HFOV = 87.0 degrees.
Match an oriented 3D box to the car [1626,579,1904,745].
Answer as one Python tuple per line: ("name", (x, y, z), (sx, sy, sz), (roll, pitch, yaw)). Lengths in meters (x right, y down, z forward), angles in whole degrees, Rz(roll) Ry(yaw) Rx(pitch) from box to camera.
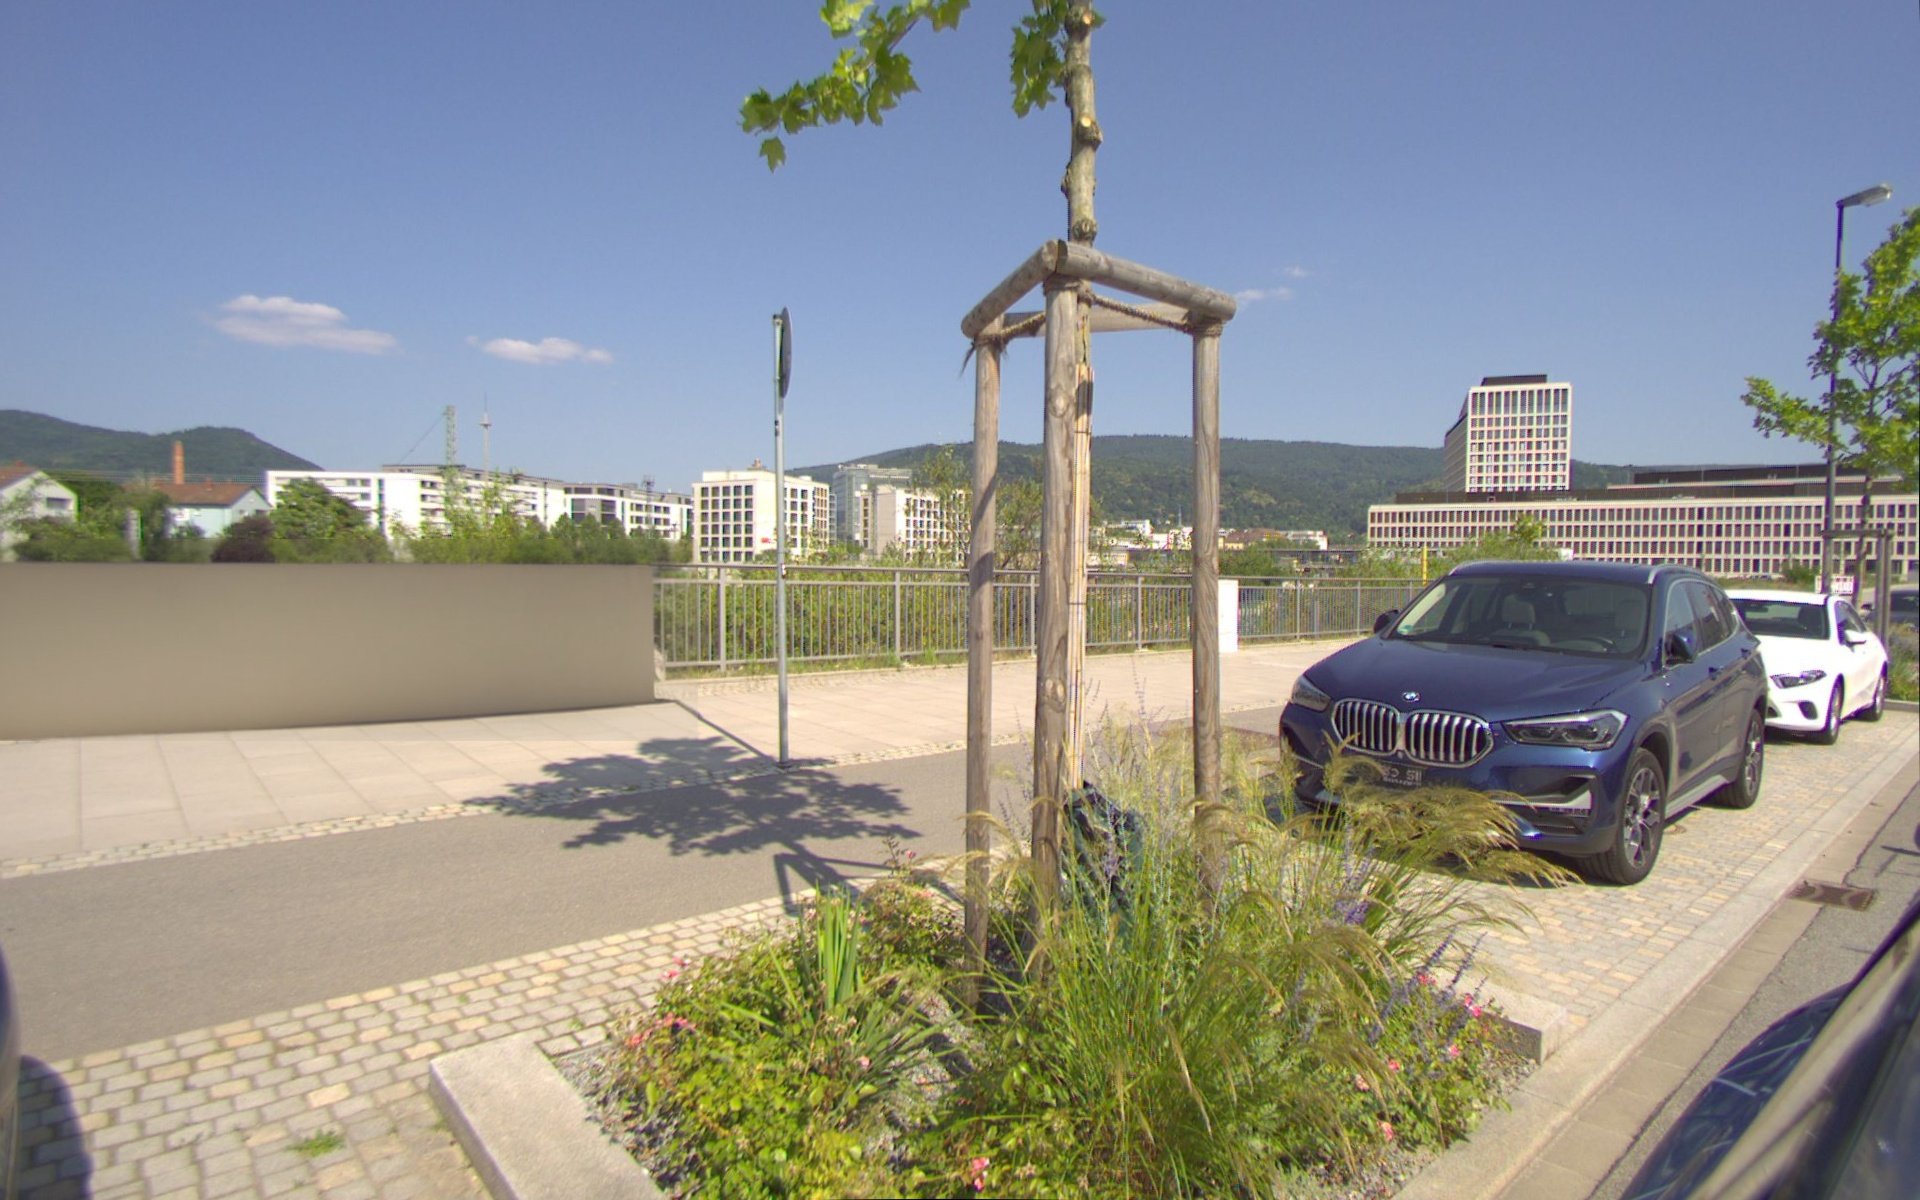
("car", (8.780, 0.526, 10.923), (3.930, 1.473, 1.663), (-1, 0, -41))

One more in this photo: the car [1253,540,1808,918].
("car", (3.801, 0.532, 6.406), (4.164, 1.627, 1.768), (-1, 0, -41))

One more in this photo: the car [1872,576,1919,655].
("car", (20.447, 0.292, 21.094), (3.930, 1.558, 1.663), (-1, 0, -41))

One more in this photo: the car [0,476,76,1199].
("car", (-2.976, 0.564, 0.393), (3.930, 1.443, 1.664), (-1, 4, -41))
